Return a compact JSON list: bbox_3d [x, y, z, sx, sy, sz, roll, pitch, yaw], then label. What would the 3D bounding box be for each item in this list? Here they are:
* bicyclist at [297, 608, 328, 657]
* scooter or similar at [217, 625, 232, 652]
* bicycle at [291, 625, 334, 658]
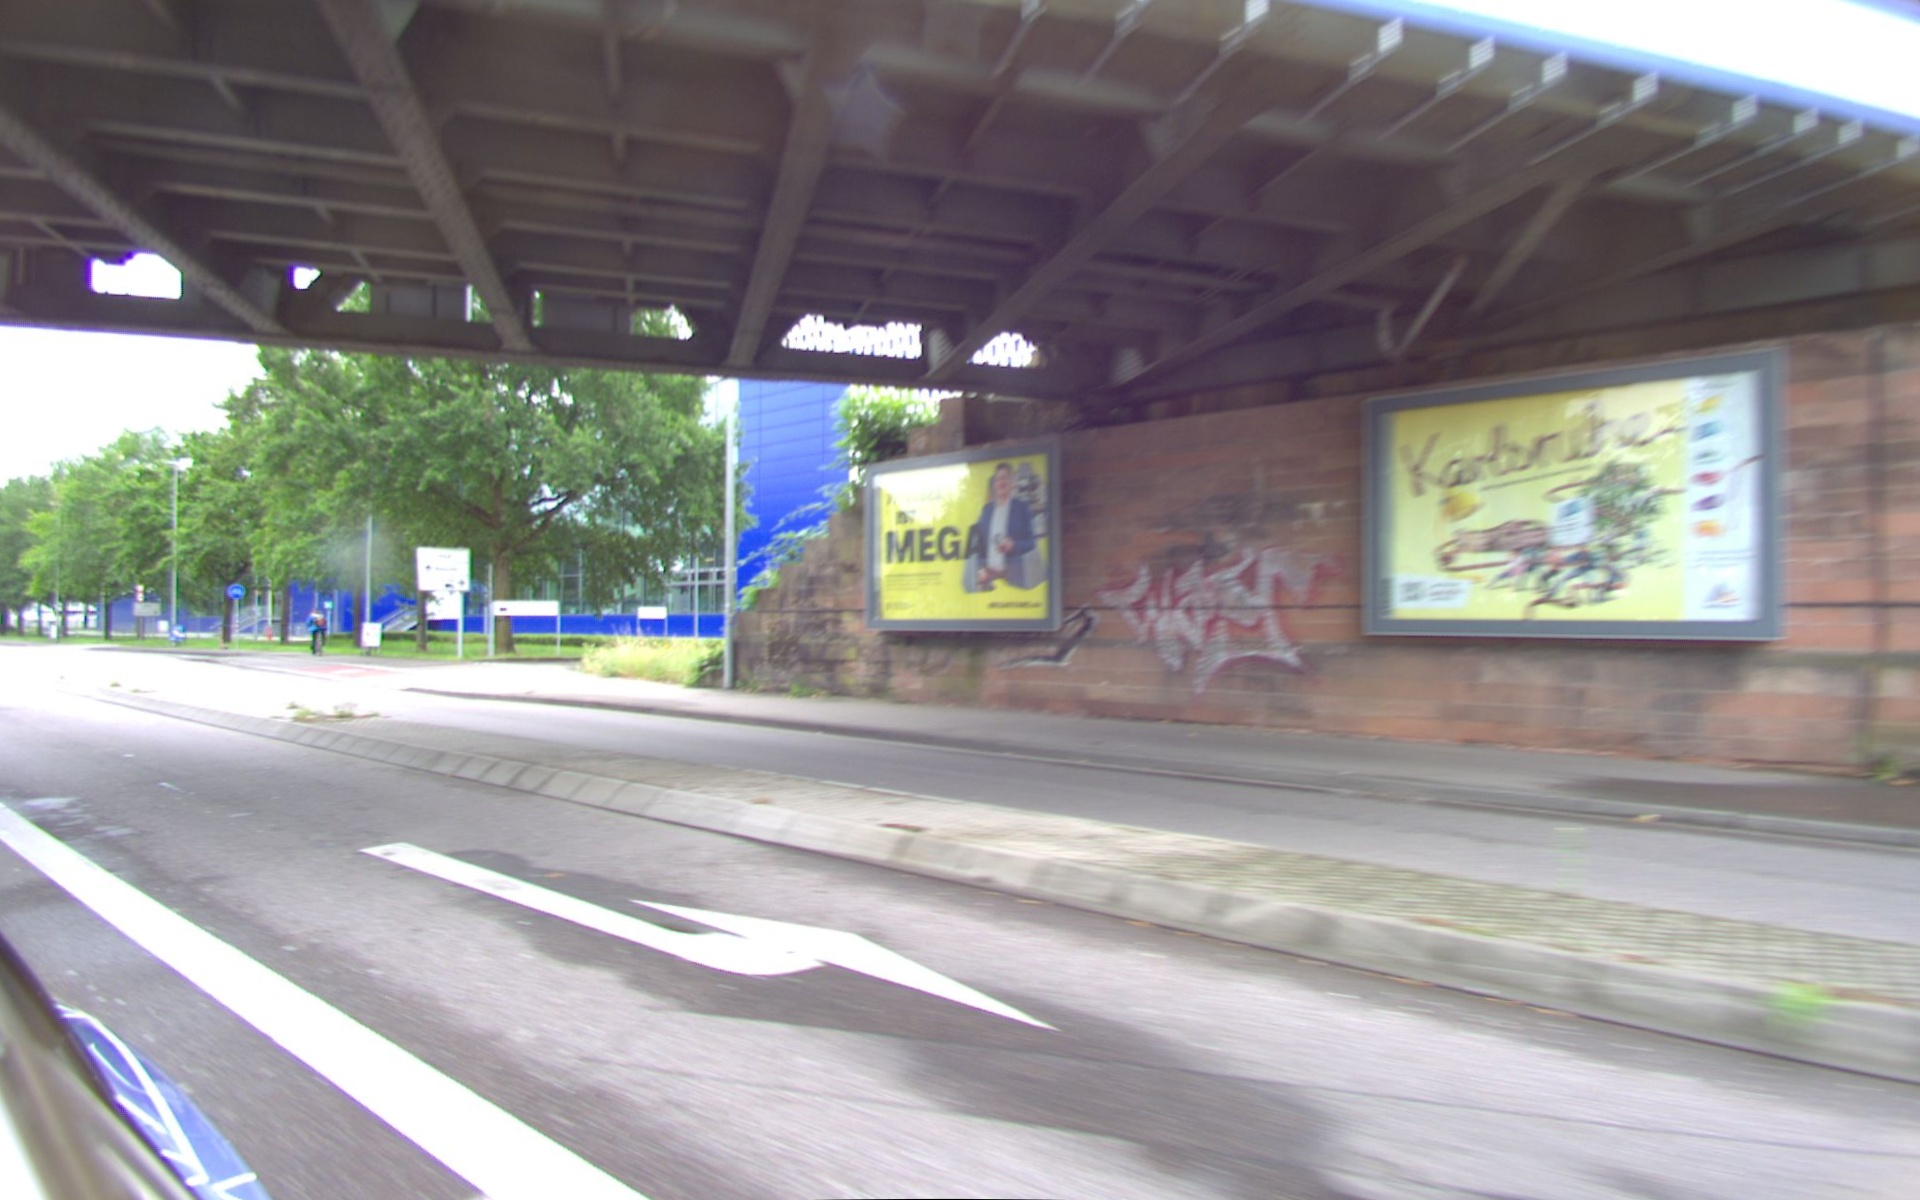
[{"bbox_3d":[-25.148,1.244,39.305,1.019,1.888,0.695,0,0,39],"label":"bicyclist"},{"bbox_3d":[-36.514,1.908,50.228,0.441,1.331,1.507,1,-2,-42],"label":"scooter or similar"},{"bbox_3d":[-25.166,1.589,39.318,2.368,1.196,0.706,0,0,39],"label":"bicycle"}]
